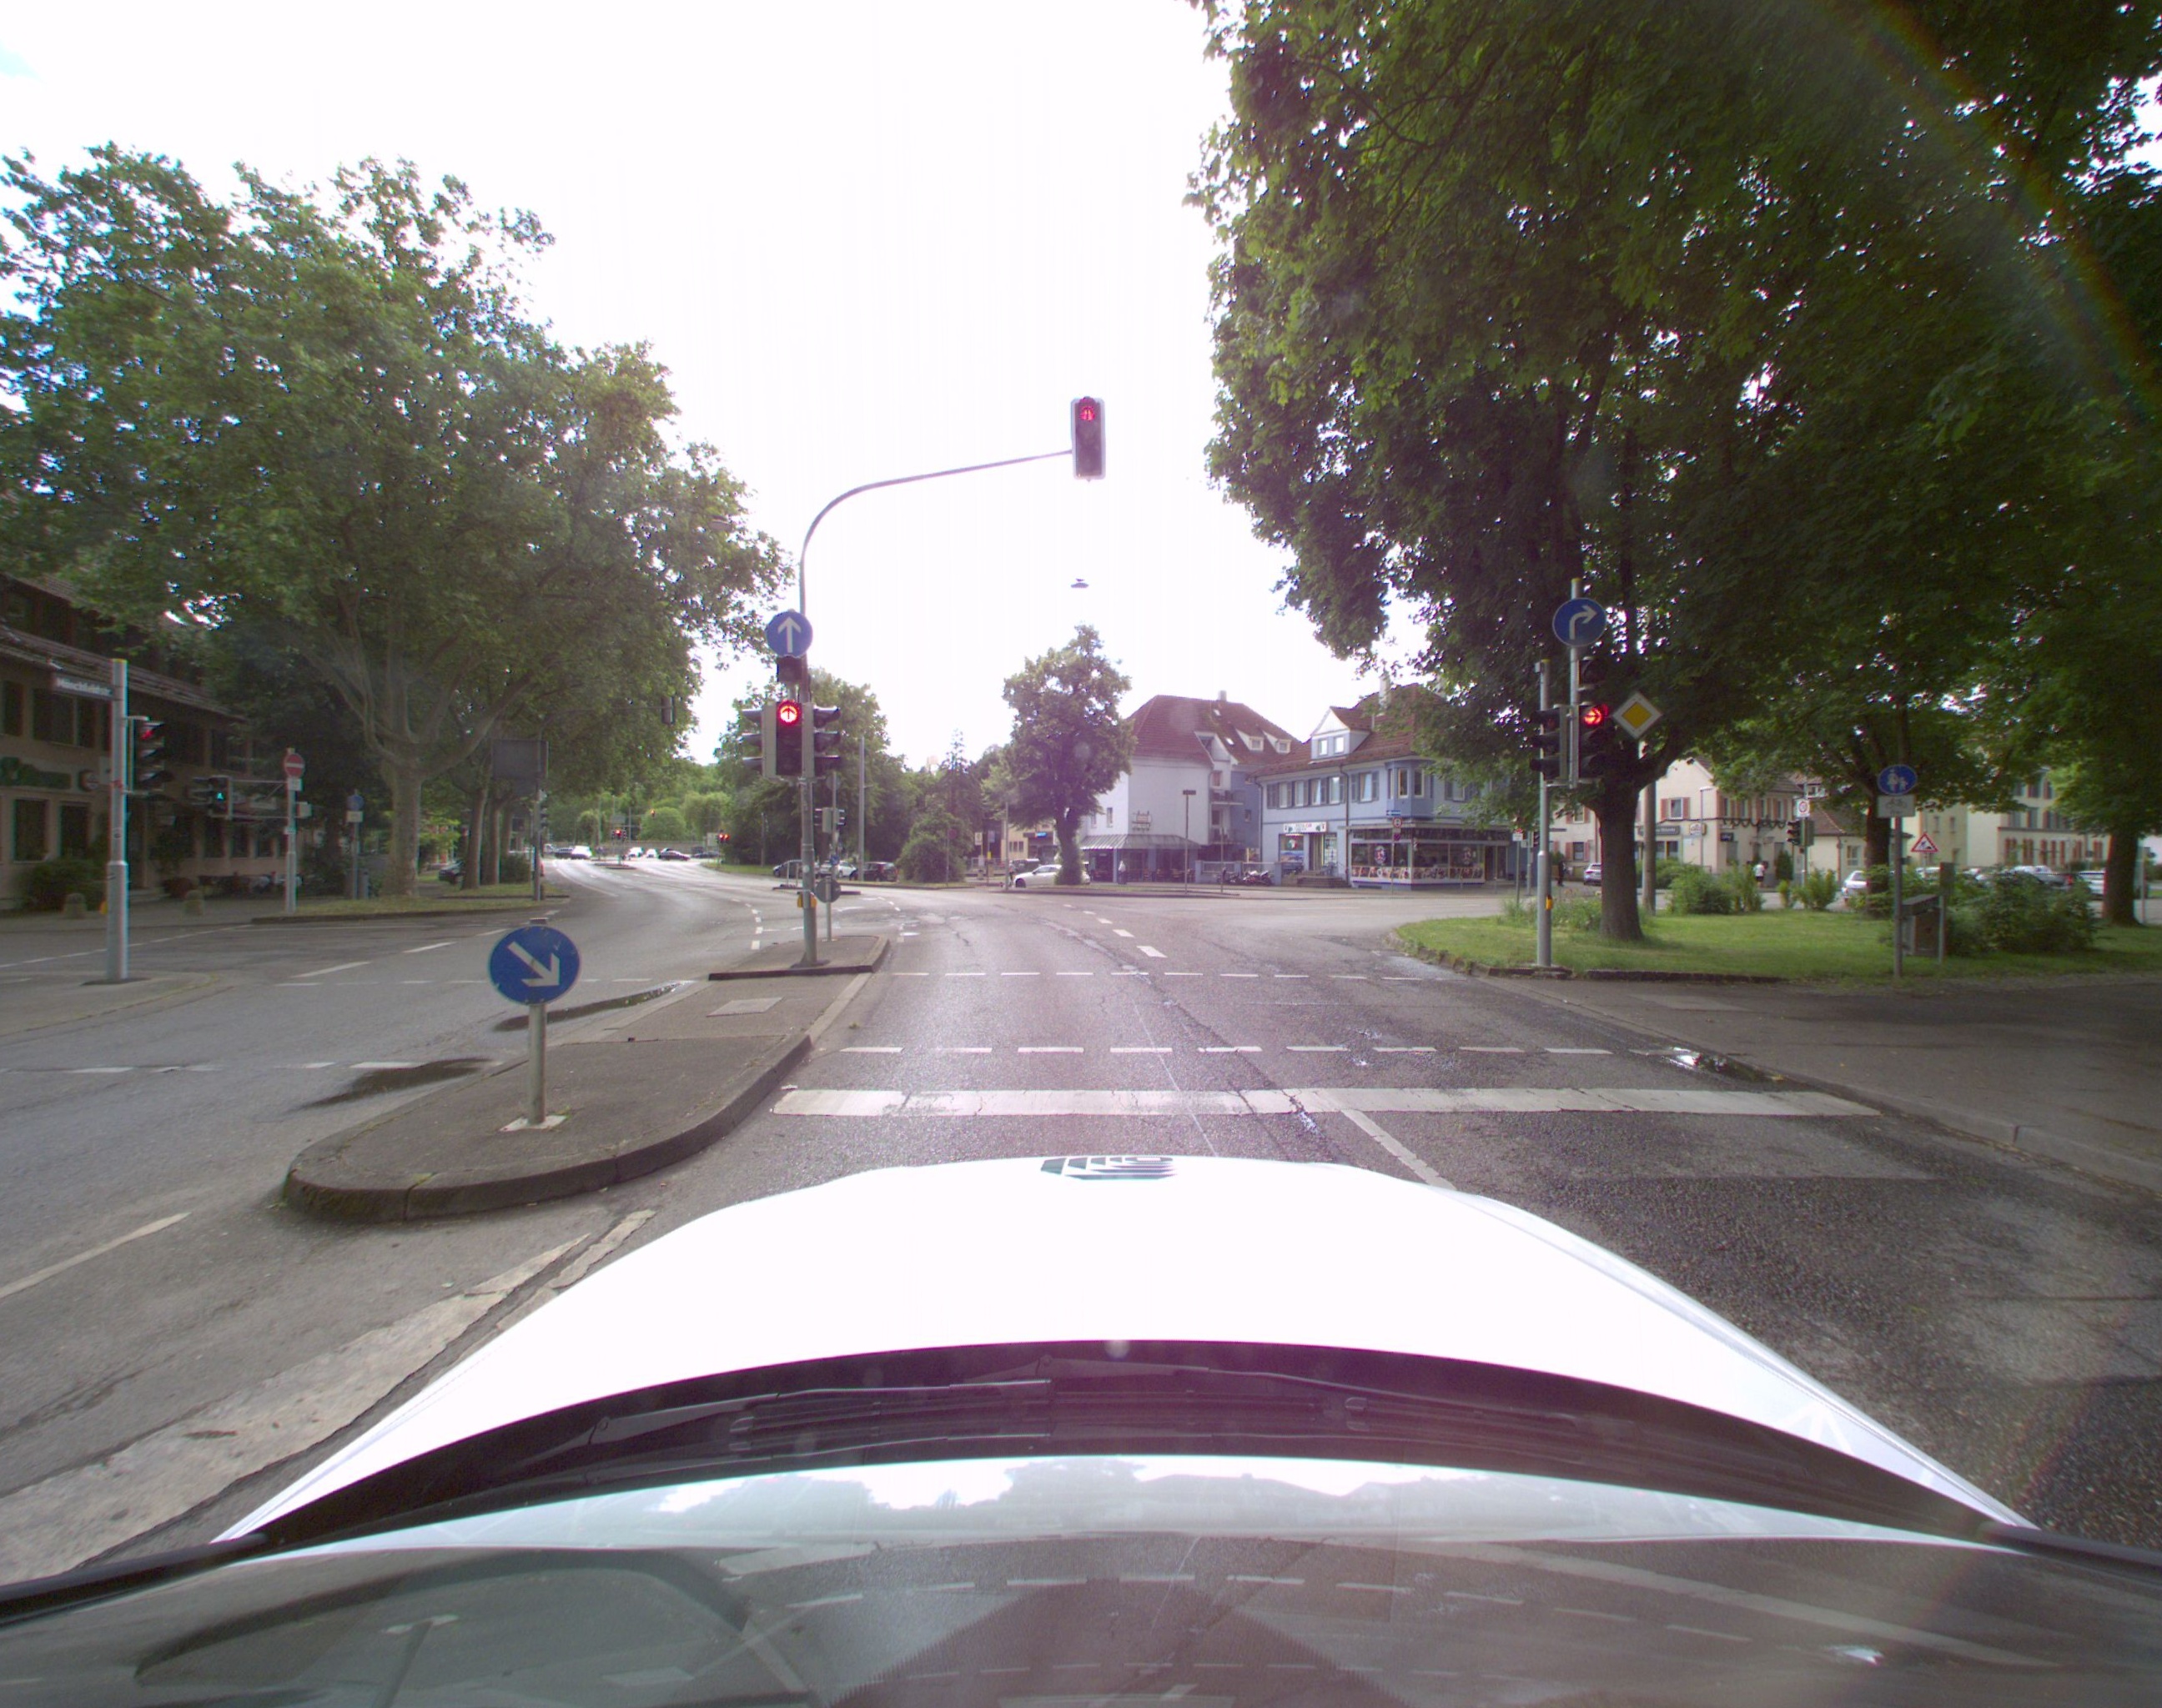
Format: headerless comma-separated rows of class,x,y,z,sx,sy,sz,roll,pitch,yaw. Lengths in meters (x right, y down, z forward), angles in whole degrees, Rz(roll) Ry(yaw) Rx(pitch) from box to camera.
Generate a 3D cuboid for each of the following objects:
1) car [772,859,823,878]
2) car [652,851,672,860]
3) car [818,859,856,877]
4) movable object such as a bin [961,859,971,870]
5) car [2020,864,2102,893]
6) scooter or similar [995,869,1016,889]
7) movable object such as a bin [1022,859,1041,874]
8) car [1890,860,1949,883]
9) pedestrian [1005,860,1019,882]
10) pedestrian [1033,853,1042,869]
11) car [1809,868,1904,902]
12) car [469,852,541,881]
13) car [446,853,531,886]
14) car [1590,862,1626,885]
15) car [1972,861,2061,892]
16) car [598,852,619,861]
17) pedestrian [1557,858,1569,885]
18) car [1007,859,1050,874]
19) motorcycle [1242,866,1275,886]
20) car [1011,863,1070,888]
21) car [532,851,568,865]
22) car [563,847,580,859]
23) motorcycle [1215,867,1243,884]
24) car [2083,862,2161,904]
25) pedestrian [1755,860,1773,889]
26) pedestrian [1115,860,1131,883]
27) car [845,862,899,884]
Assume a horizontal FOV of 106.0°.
car,-22.442,1.116,64.483,3.520,1.464,1.591,0,0,14
car,-95.503,0.442,185.601,4.011,2.014,1.981,0,-1,-29
car,-20.084,1.133,67.185,1.534,1.464,3.407,0,0,13
movable object such as a bin,-12.226,1.123,86.638,0.953,1.115,0.381,0,-1,-19
car,46.999,1.168,39.058,3.511,1.321,1.549,0,0,-22
scooter or similar,-3.981,1.291,42.880,0.413,1.011,1.575,-1,-1,22
movable object such as a bin,-4.528,1.136,74.247,1.447,1.409,0.959,0,-1,-25
car,55.112,1.129,53.529,4.007,1.420,1.544,0,0,-26
pedestrian,-4.885,1.187,57.729,0.699,1.545,0.682,-1,-1,42
pedestrian,-4.309,0.723,80.359,0.681,1.545,0.701,0,-1,-32
car,31.959,1.253,33.567,3.511,1.321,1.549,0,0,-22
car,-35.488,0.758,50.281,3.461,1.742,1.557,0,-1,-31
car,-31.005,0.785,42.716,3.461,1.641,1.557,0,-1,-31
car,32.599,1.186,50.340,1.481,1.369,3.198,-1,-1,40
car,42.212,0.977,36.751,3.510,1.321,1.549,0,0,-21
car,-106.183,0.500,183.025,4.011,2.014,1.981,0,-1,-29
pedestrian,27.657,1.007,46.770,0.454,1.517,0.591,-1,-1,43
car,-4.885,1.138,76.155,3.752,1.345,1.422,0,0,-25
motorcycle,10.531,1.289,48.262,1.777,1.121,0.699,0,-1,40
car,-2.312,1.203,46.237,3.134,1.354,1.448,0,-1,36
car,-77.718,0.541,119.199,3.993,2.014,1.855,0,-1,-14
car,-63.318,-0.151,101.166,1.440,1.416,2.838,0,-1,-39
motorcycle,9.110,1.315,50.077,0.699,1.064,1.617,0,-1,-44
car,52.827,1.437,41.125,4.004,2.014,1.770,0,-1,-23
pedestrian,39.457,1.192,47.034,0.611,1.649,0.606,0,-1,-27
pedestrian,2.765,1.133,53.229,0.759,1.545,0.682,-1,-1,41
car,-13.911,1.268,54.204,3.549,1.394,1.481,0,-1,34
